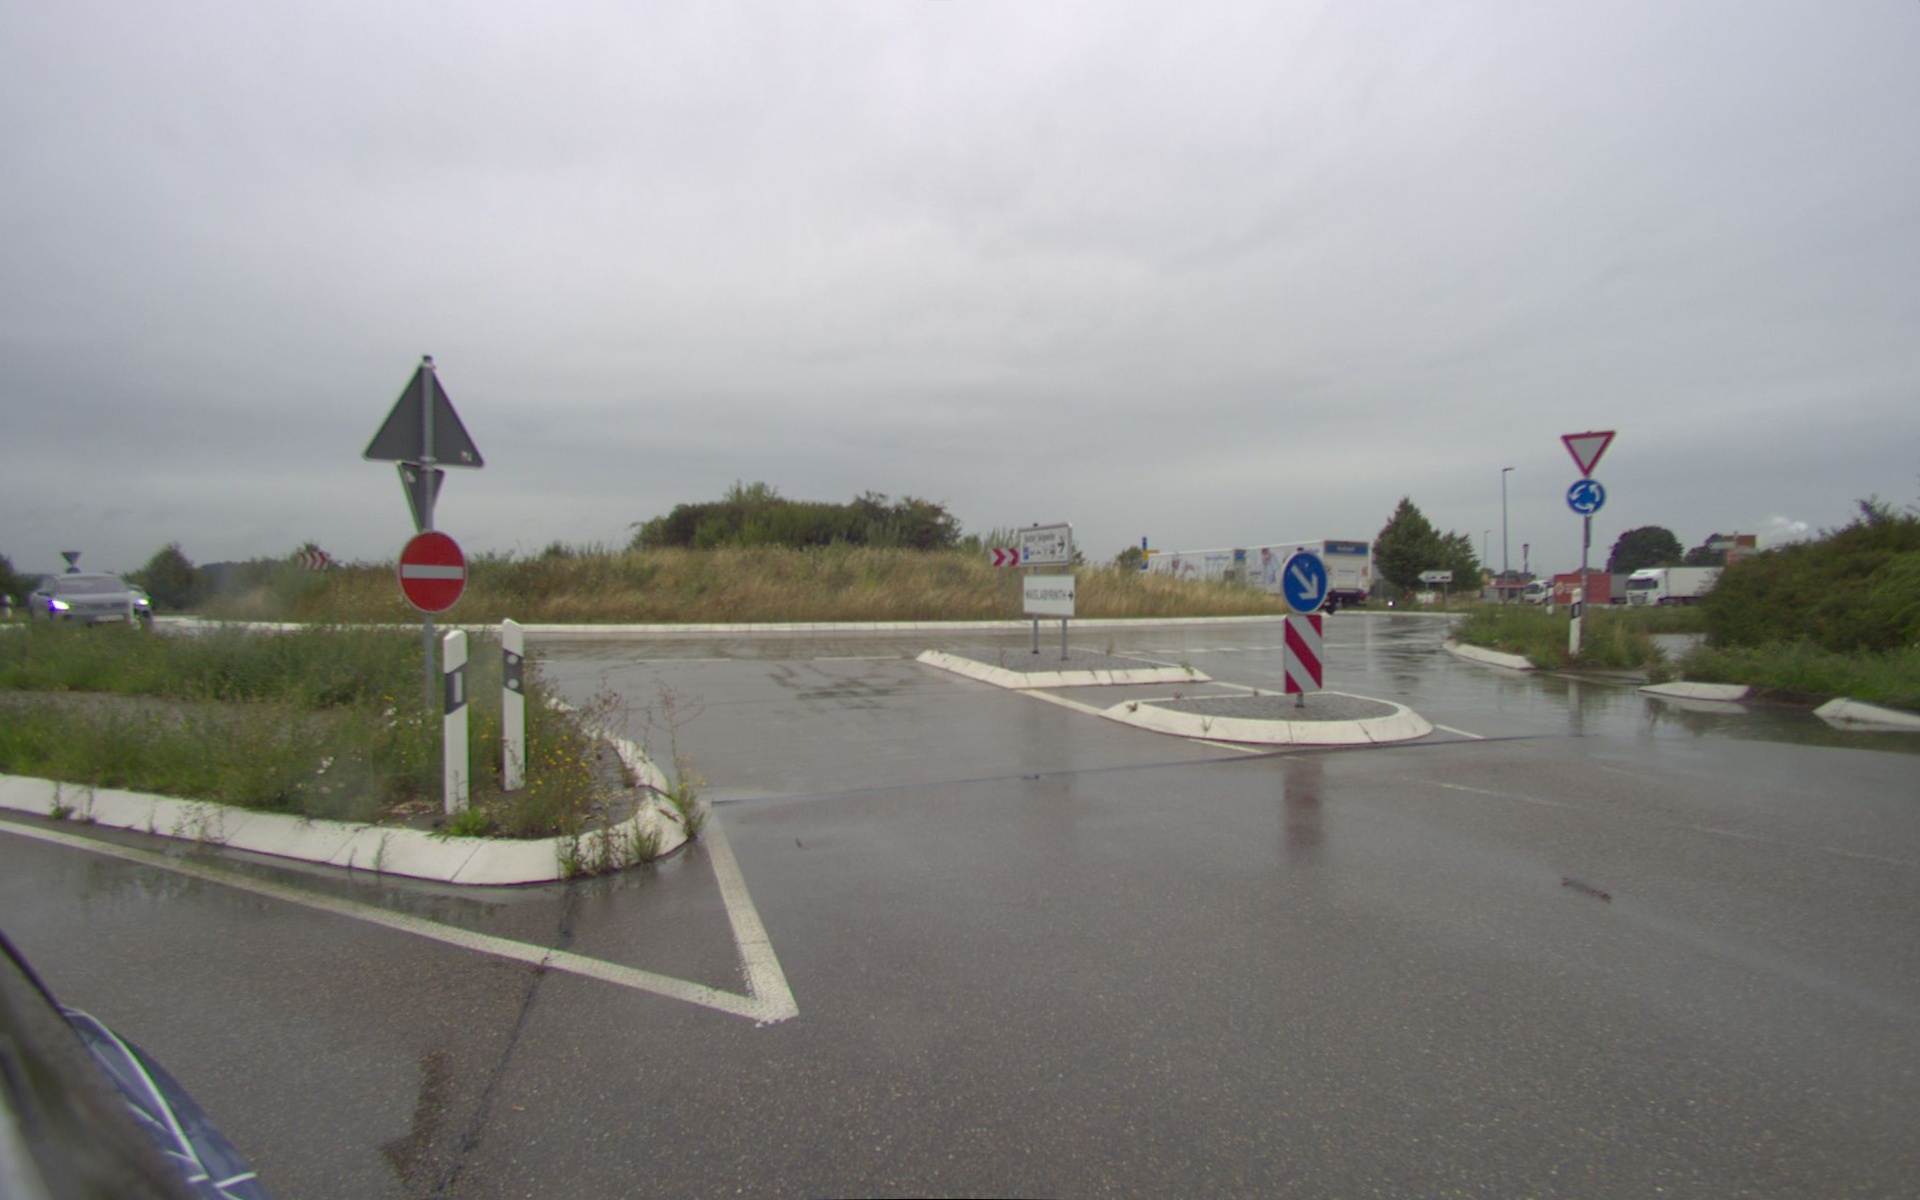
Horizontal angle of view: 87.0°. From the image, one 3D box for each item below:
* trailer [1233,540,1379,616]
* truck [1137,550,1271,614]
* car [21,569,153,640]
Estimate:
[{"bbox_3d":[17.941,-1.065,53.316,3.049,3.641,8.881,-1,0,-12],"label":"trailer"},{"bbox_3d":[14.677,-0.992,61.628,3.064,3.625,8.199,-1,0,-30],"label":"truck"},{"bbox_3d":[-22.124,0.035,25.584,4.500,1.586,1.972,2,4,43],"label":"car"}]
